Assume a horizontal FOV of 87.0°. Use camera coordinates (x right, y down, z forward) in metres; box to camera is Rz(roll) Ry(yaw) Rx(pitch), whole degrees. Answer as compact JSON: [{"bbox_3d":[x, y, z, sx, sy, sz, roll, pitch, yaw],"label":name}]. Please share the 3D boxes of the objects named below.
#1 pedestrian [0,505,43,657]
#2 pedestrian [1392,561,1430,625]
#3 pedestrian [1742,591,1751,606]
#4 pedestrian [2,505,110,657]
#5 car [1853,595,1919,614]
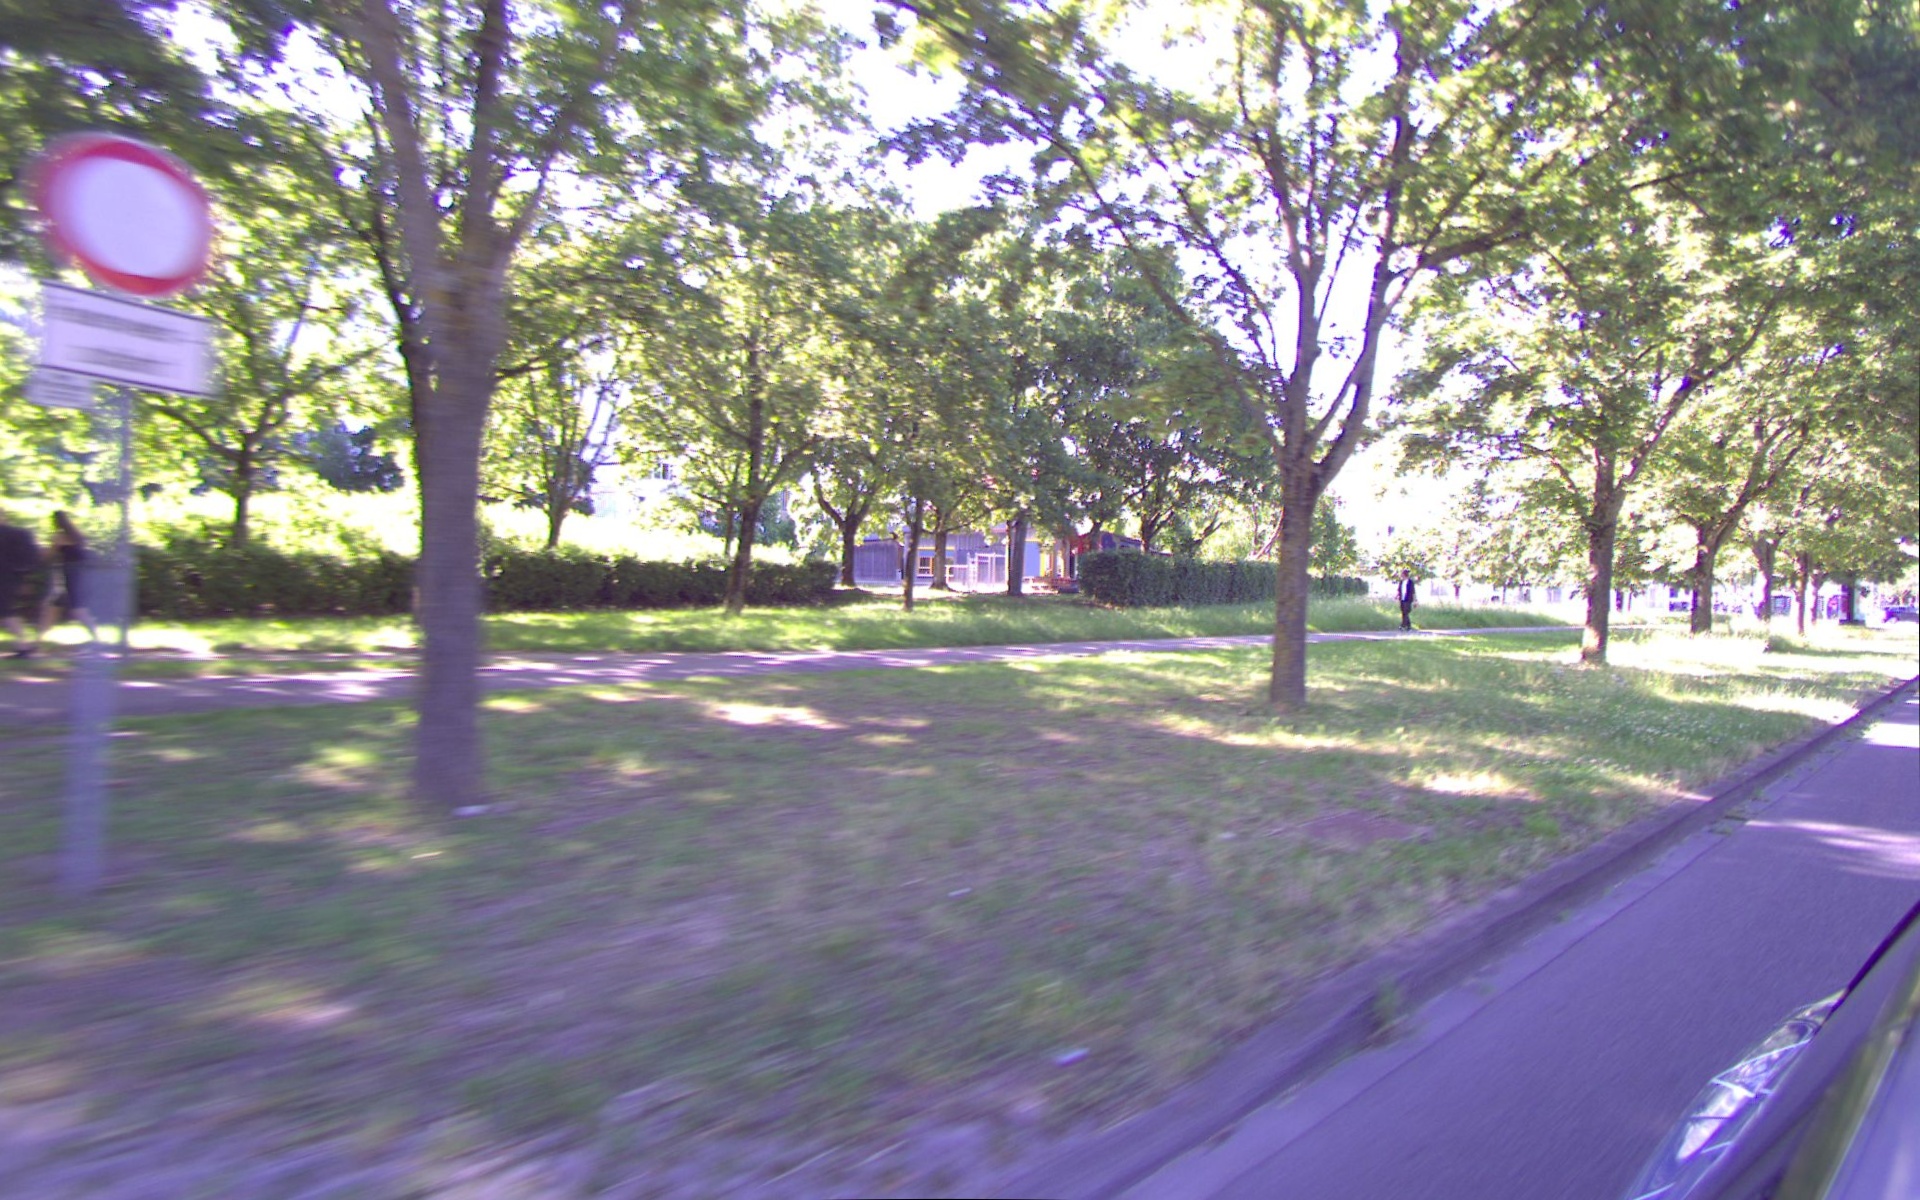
[{"bbox_3d":[-10.645,-0.214,11.061,0.827,1.642,0.549,1,1,-31],"label":"pedestrian"},{"bbox_3d":[13.011,-0.210,29.192,0.781,1.826,0.716,1,0,-44],"label":"pedestrian"},{"bbox_3d":[88.685,-0.165,114.048,0.728,1.718,0.726,2,0,36],"label":"pedestrian"},{"bbox_3d":[-10.611,-0.222,11.906,0.827,1.713,0.639,1,1,-31],"label":"pedestrian"},{"bbox_3d":[86.376,0.396,94.122,4.595,1.643,1.978,2,2,32],"label":"car"}]
